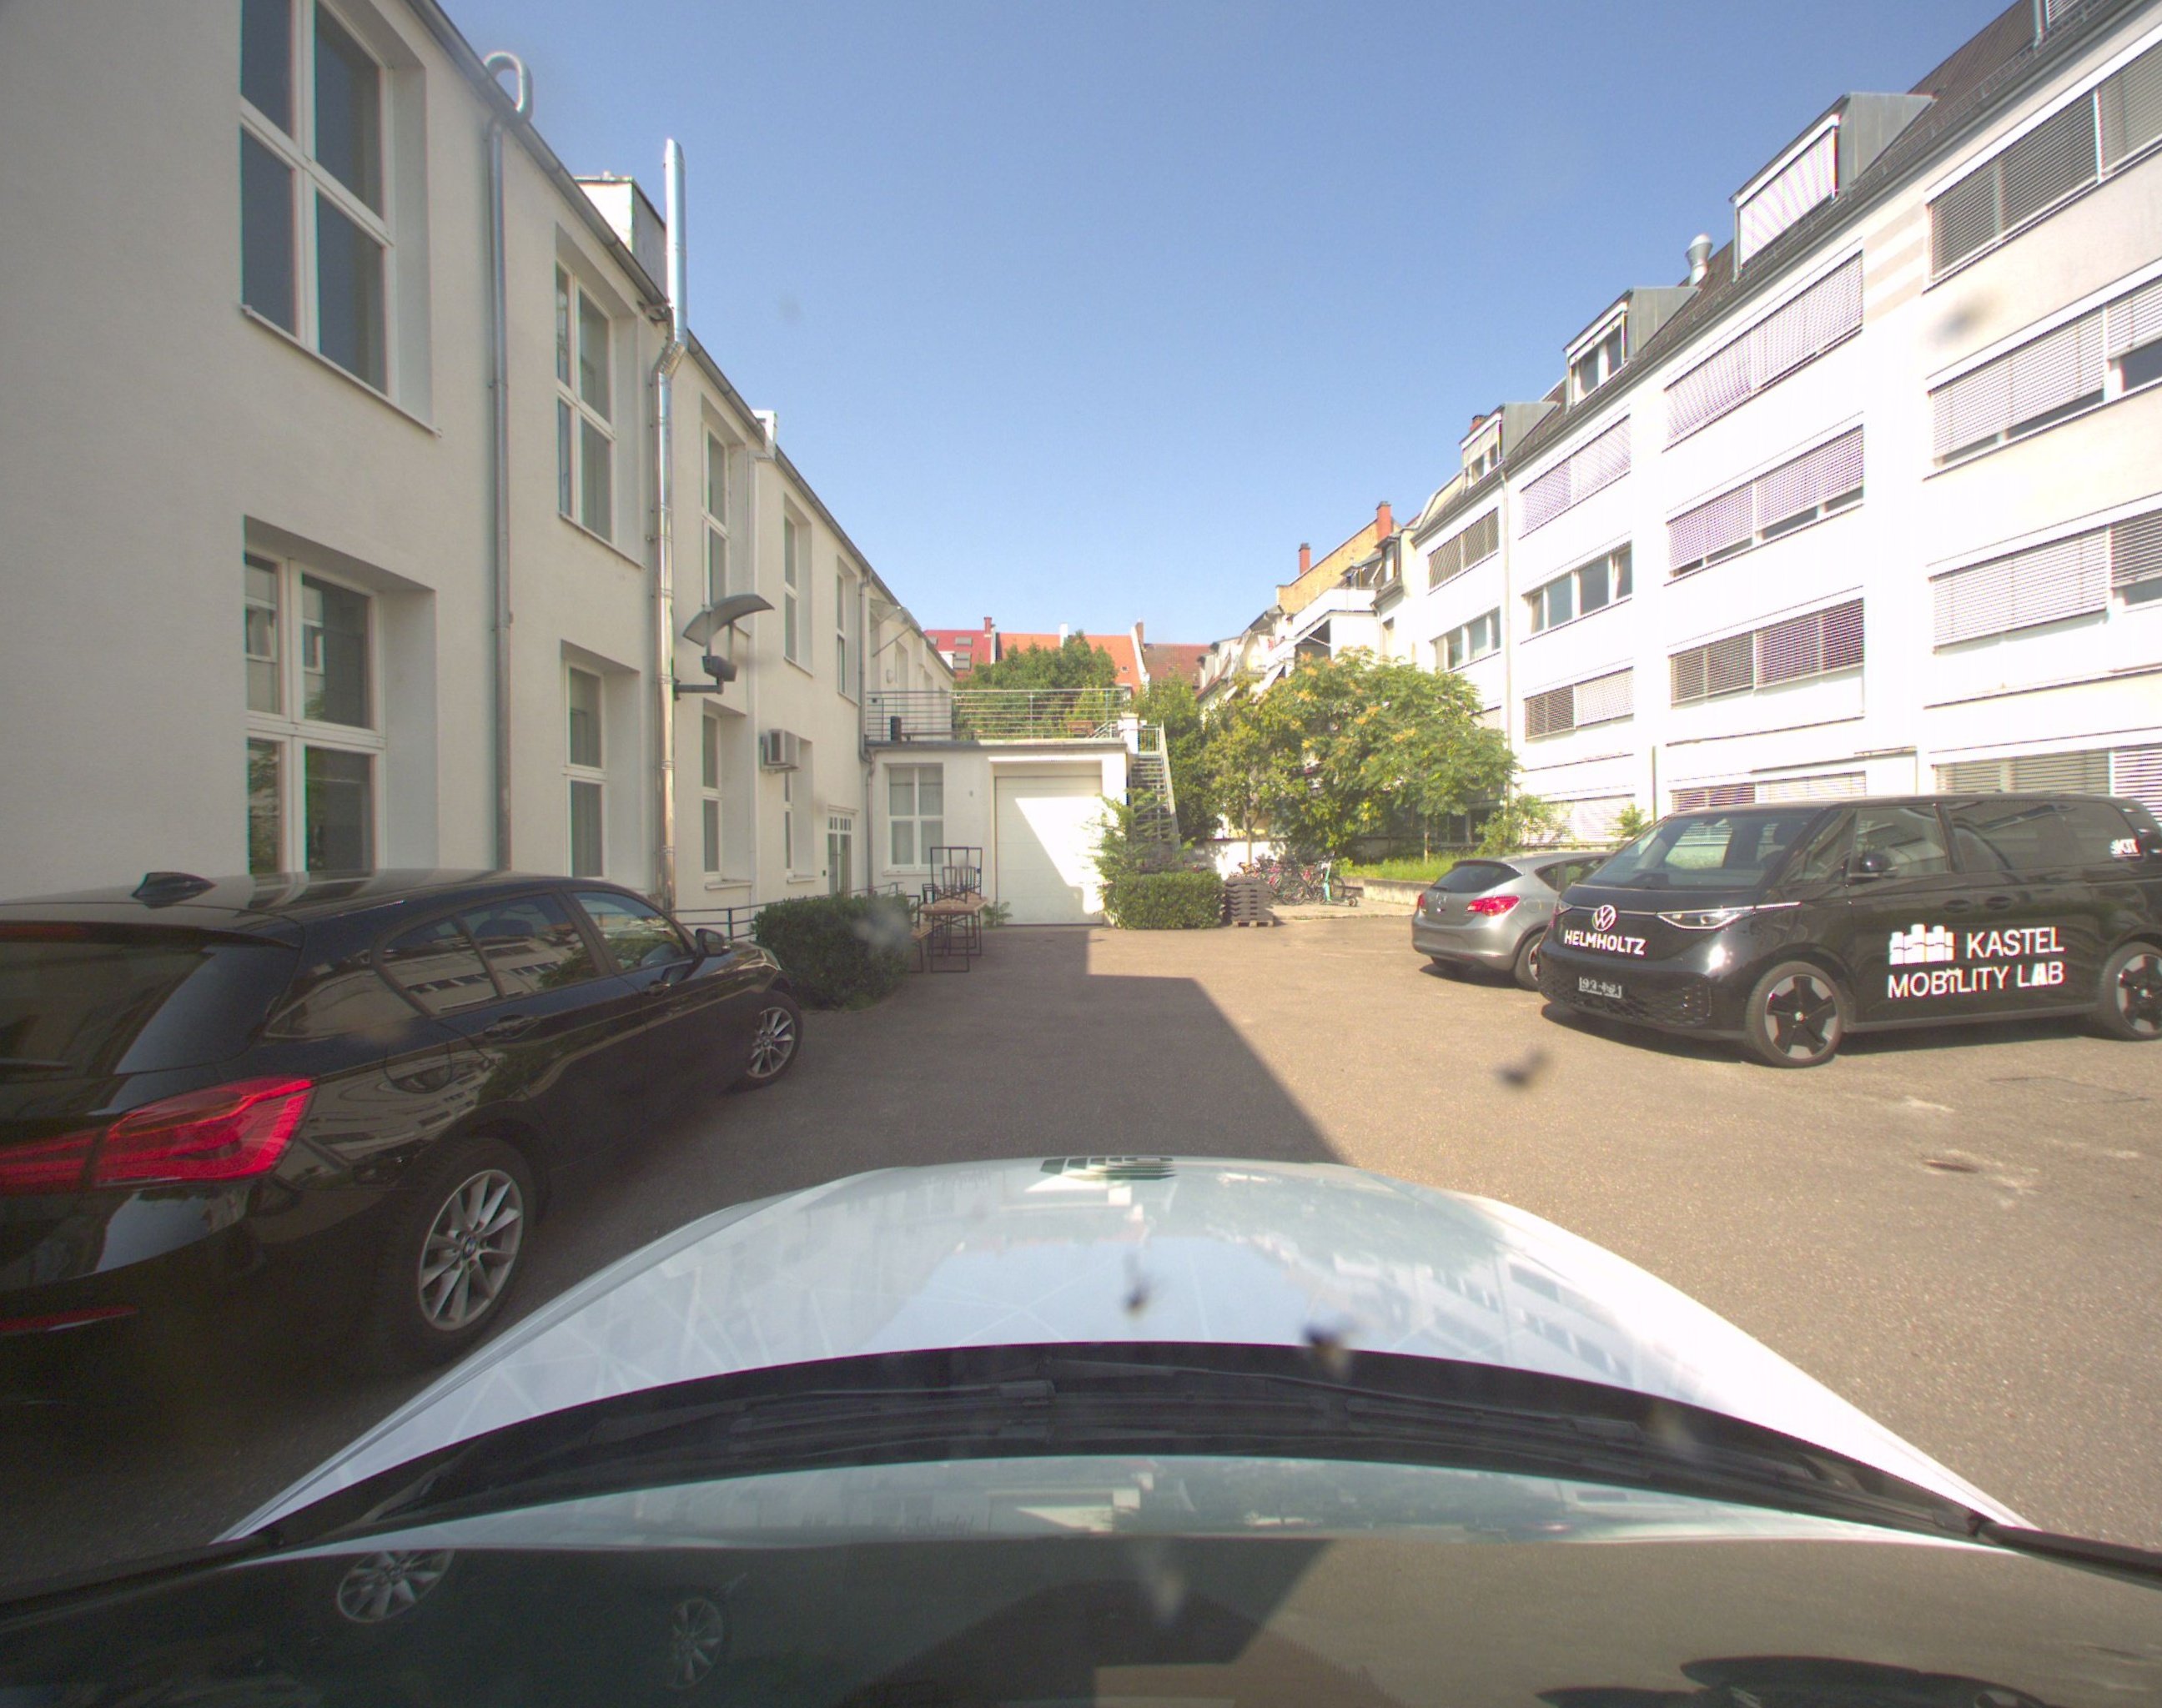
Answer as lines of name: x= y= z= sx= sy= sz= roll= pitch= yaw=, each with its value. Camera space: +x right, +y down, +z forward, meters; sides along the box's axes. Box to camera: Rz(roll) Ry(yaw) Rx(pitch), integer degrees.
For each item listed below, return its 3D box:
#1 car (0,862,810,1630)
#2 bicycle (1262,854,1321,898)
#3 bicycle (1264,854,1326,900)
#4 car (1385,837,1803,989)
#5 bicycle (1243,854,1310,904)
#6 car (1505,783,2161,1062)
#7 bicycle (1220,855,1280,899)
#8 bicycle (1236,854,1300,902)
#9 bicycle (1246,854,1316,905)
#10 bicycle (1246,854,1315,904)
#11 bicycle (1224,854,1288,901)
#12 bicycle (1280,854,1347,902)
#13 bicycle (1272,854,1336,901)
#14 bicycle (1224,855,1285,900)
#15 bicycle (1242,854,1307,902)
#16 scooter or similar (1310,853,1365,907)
car: x=-2.651 y=0.778 z=3.517 sx=1.683 sy=1.459 sz=3.921 roll=0 pitch=0 yaw=-1
bicycle: x=6.099 y=0.639 z=23.638 sx=1.612 sy=1.214 sz=0.425 roll=-2 pitch=0 yaw=13
bicycle: x=5.941 y=0.635 z=22.613 sx=1.612 sy=1.214 sz=0.425 roll=-2 pitch=0 yaw=13
car: x=5.849 y=0.609 z=9.518 sx=3.931 sy=1.482 sz=1.769 roll=-1 pitch=-1 yaw=-9
bicycle: x=4.997 y=0.632 z=20.828 sx=1.617 sy=1.214 sz=0.327 roll=-2 pitch=0 yaw=2
car: x=6.134 y=0.429 z=6.633 sx=4.499 sy=1.794 sz=1.877 roll=-1 pitch=-1 yaw=-9
bicycle: x=4.889 y=0.649 z=23.558 sx=1.620 sy=1.214 sz=0.423 roll=-2 pitch=0 yaw=-5
bicycle: x=4.968 y=0.637 z=21.644 sx=1.611 sy=1.214 sz=0.328 roll=-2 pitch=0 yaw=13
bicycle: x=4.950 y=0.629 z=20.213 sx=1.617 sy=1.214 sz=0.327 roll=-2 pitch=0 yaw=2
bicycle: x=5.022 y=0.630 z=20.534 sx=1.617 sy=1.214 sz=0.327 roll=-2 pitch=0 yaw=2
bicycle: x=4.791 y=0.643 z=22.321 sx=1.618 sy=1.214 sz=0.424 roll=-2 pitch=0 yaw=-1
bicycle: x=6.039 y=0.625 z=21.175 sx=1.611 sy=1.214 sz=0.328 roll=-2 pitch=0 yaw=15
bicycle: x=6.027 y=0.630 z=22.037 sx=1.611 sy=1.214 sz=0.425 roll=-2 pitch=0 yaw=13
bicycle: x=4.885 y=0.646 z=22.955 sx=1.620 sy=1.214 sz=0.423 roll=-2 pitch=0 yaw=-5
bicycle: x=5.040 y=0.634 z=21.279 sx=1.613 sy=1.214 sz=0.328 roll=-2 pitch=0 yaw=10
scooter or similar: x=6.274 y=0.622 z=19.963 sx=0.381 sy=1.261 sz=1.335 roll=-2 pitch=0 yaw=-31
